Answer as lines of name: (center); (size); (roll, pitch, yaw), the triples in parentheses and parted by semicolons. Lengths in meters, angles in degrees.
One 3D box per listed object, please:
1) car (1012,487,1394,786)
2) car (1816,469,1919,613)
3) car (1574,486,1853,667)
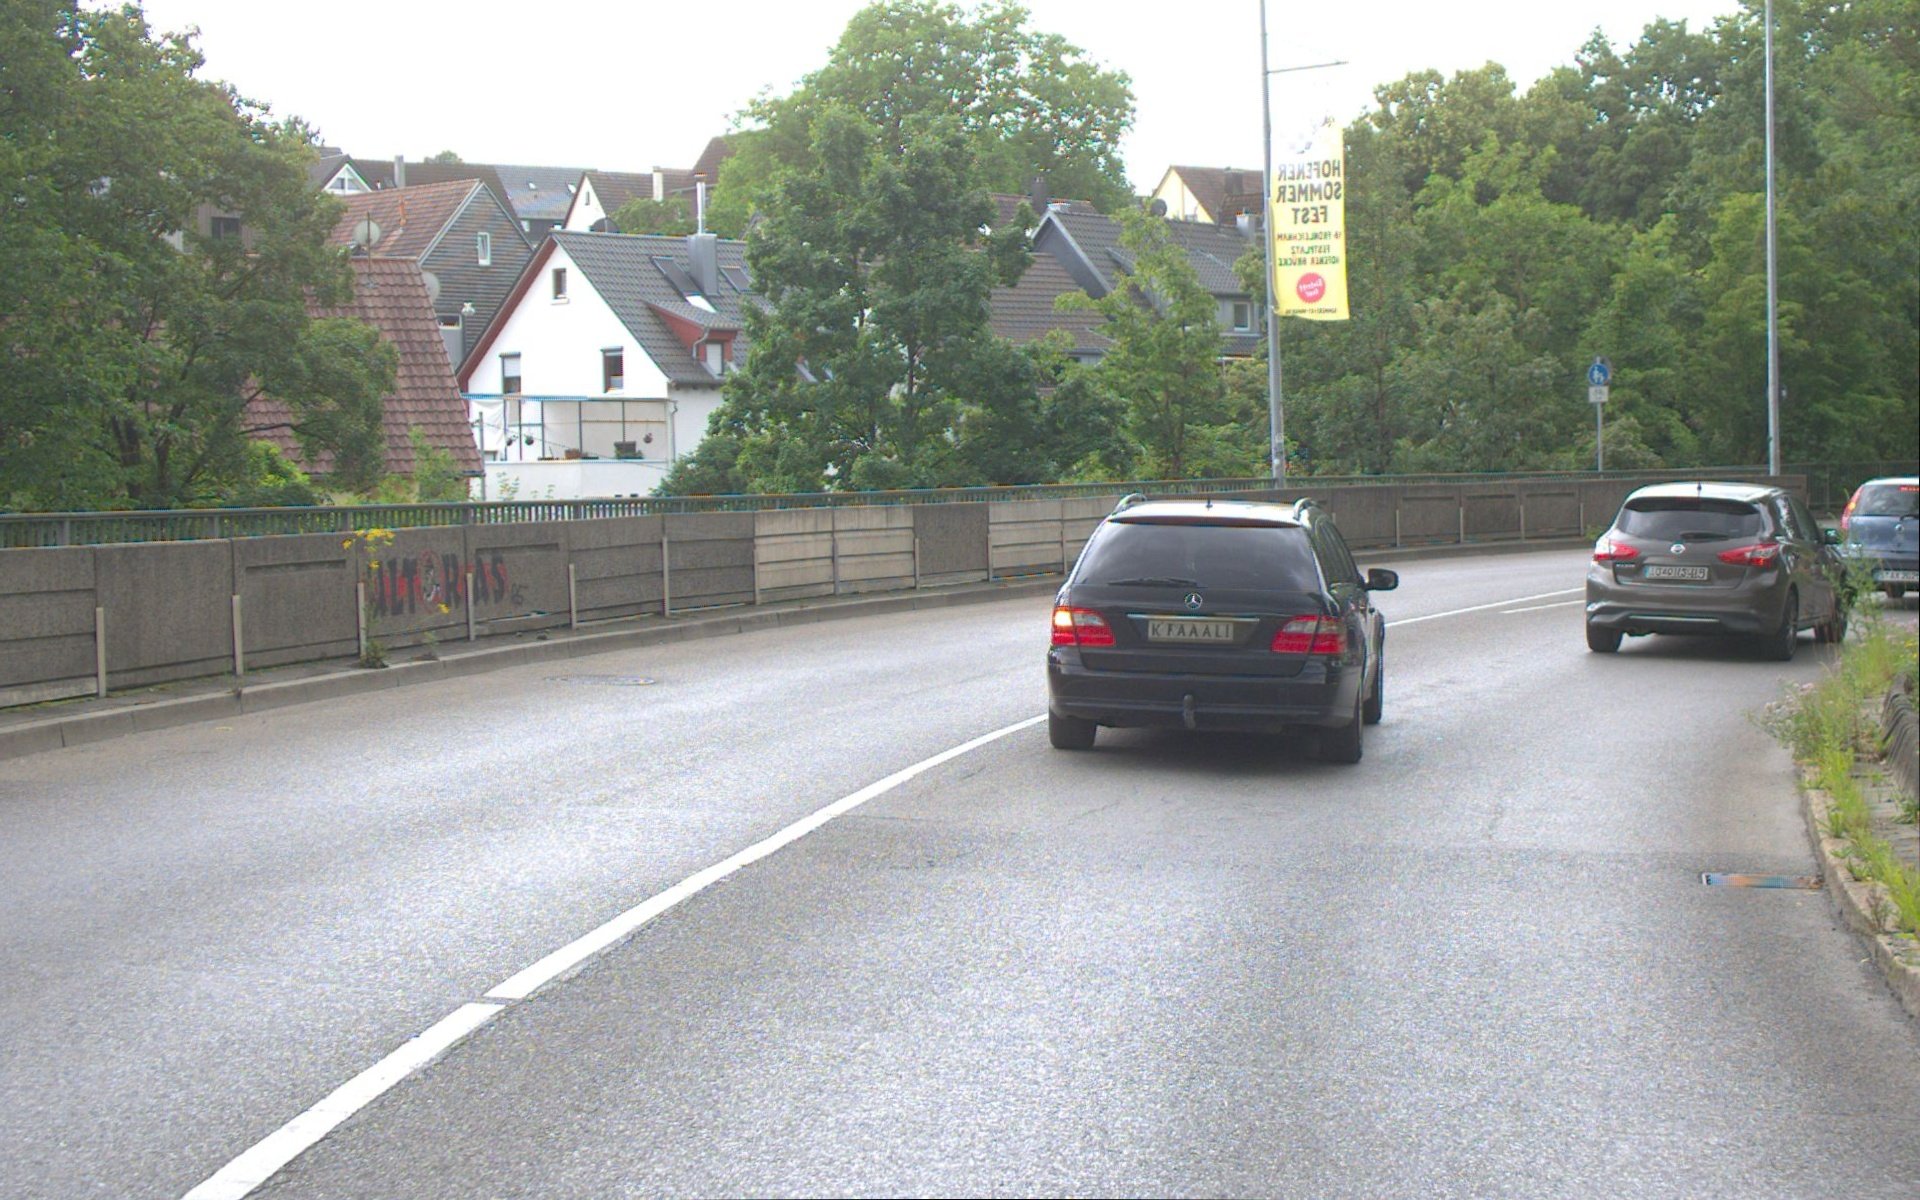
car: (1.580, 0.119, 20.770); (1.852, 1.481, 4.420); (2, 3, 9)
car: (11.186, -0.696, 39.516); (1.895, 1.568, 3.995); (2, 2, 25)
car: (6.924, -0.272, 31.306); (1.777, 1.489, 3.996); (2, 3, 22)
